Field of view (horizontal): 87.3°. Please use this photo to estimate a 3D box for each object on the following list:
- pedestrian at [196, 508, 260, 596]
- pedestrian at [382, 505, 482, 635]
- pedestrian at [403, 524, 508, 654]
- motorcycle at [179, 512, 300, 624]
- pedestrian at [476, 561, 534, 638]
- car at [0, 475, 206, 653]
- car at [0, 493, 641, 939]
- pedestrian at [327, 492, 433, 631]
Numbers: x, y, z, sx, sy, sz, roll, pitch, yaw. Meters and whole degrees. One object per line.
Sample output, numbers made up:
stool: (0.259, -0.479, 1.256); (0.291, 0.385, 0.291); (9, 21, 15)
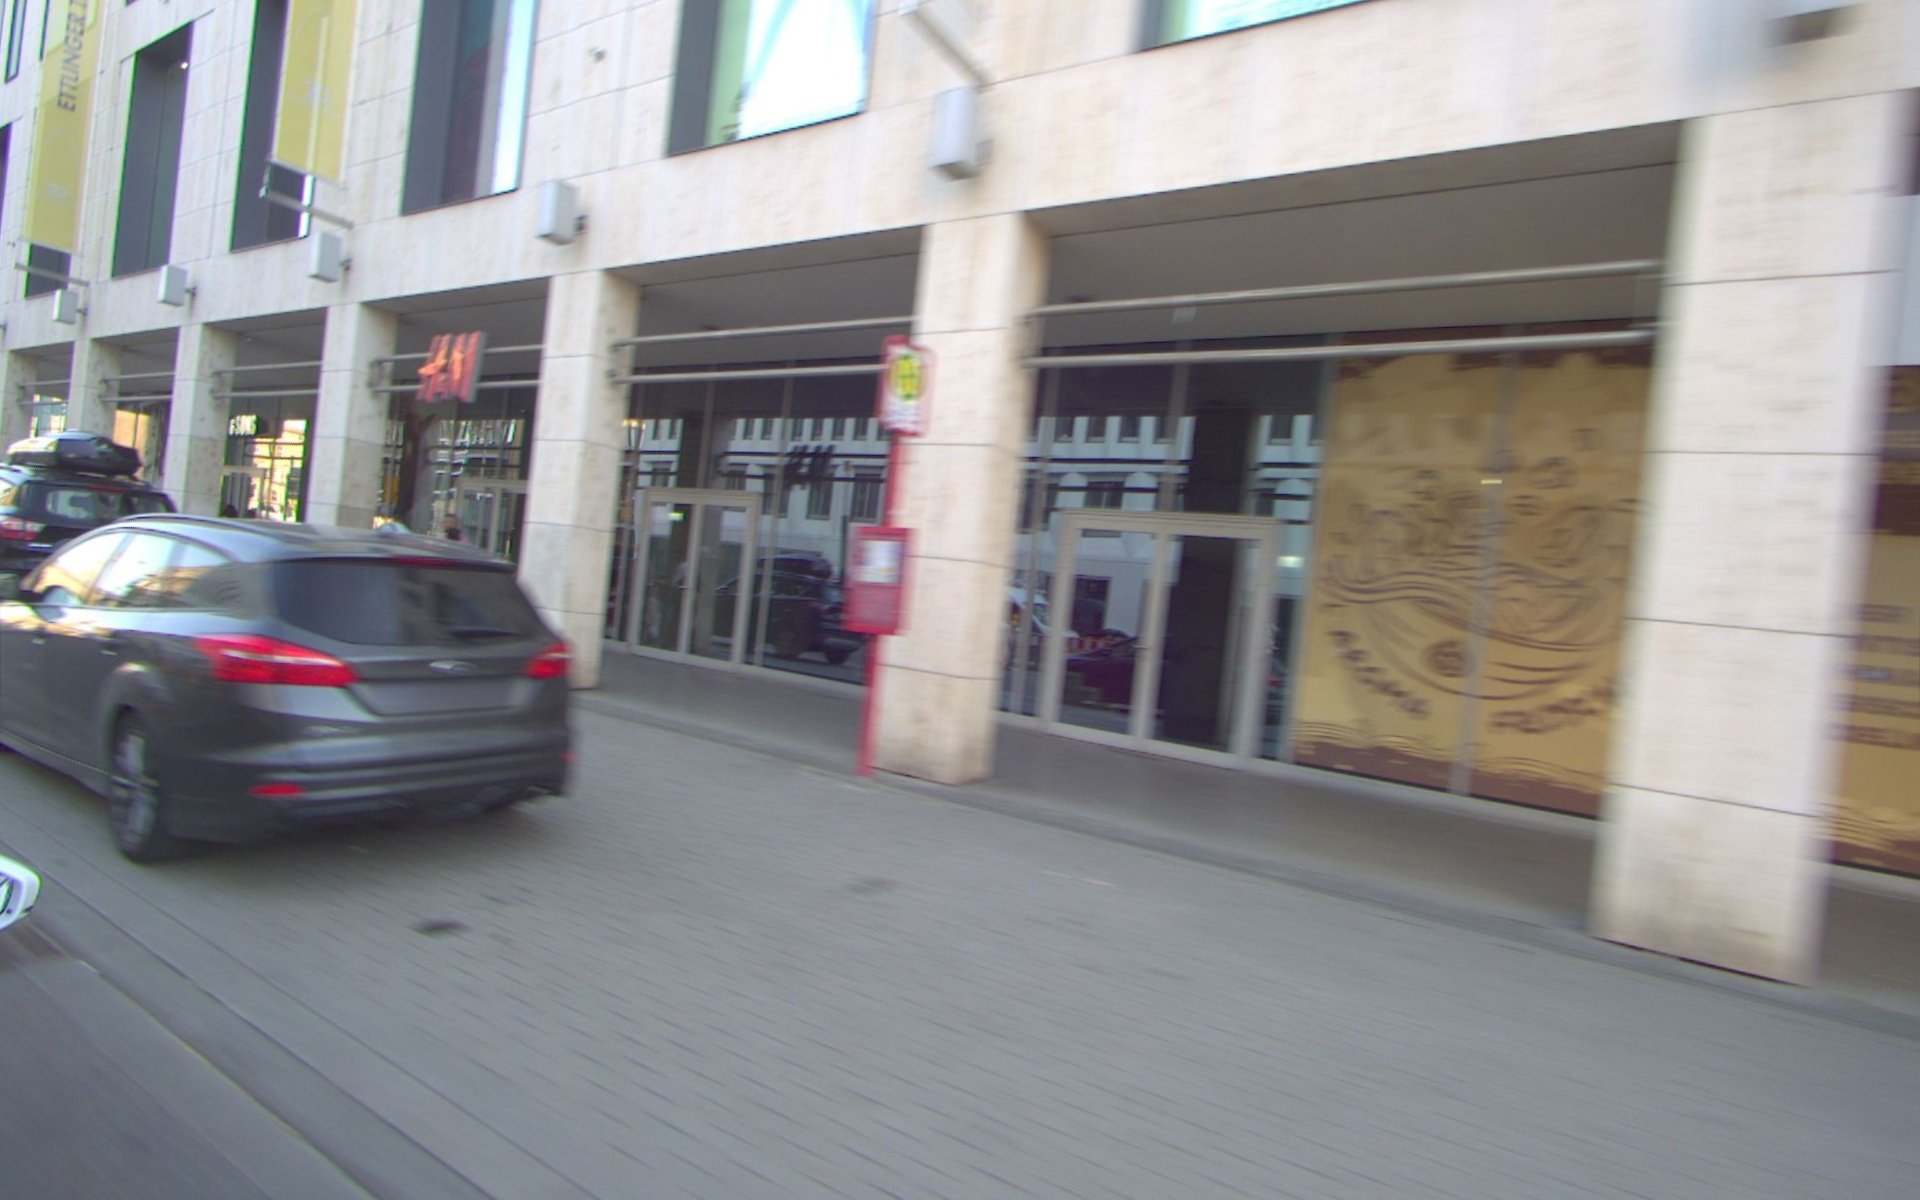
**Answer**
pedestrian: (-14.265, -0.931, 19.604); (0.762, 1.587, 0.634); (9, 2, 32)
pedestrian: (-7.555, -0.421, 14.397); (0.862, 1.702, 0.765); (9, 2, 32)
pedestrian: (-6.760, -0.139, 13.485); (0.862, 1.587, 0.765); (9, 2, 32)
motorcycle: (-10.668, -0.493, 14.864); (2.102, 1.434, 0.693); (6, 0, 35)
pedestrian: (-6.412, -0.008, 14.182); (0.517, 0.998, 0.420); (9, 2, 32)
car: (-10.200, -0.498, 11.071); (3.992, 1.660, 1.767); (6, 3, 33)
car: (-3.856, 0.301, 5.473); (4.125, 1.510, 1.794); (6, 3, 33)
pedestrian: (-7.797, -0.511, 13.530); (0.862, 1.702, 0.765); (9, 2, 32)
